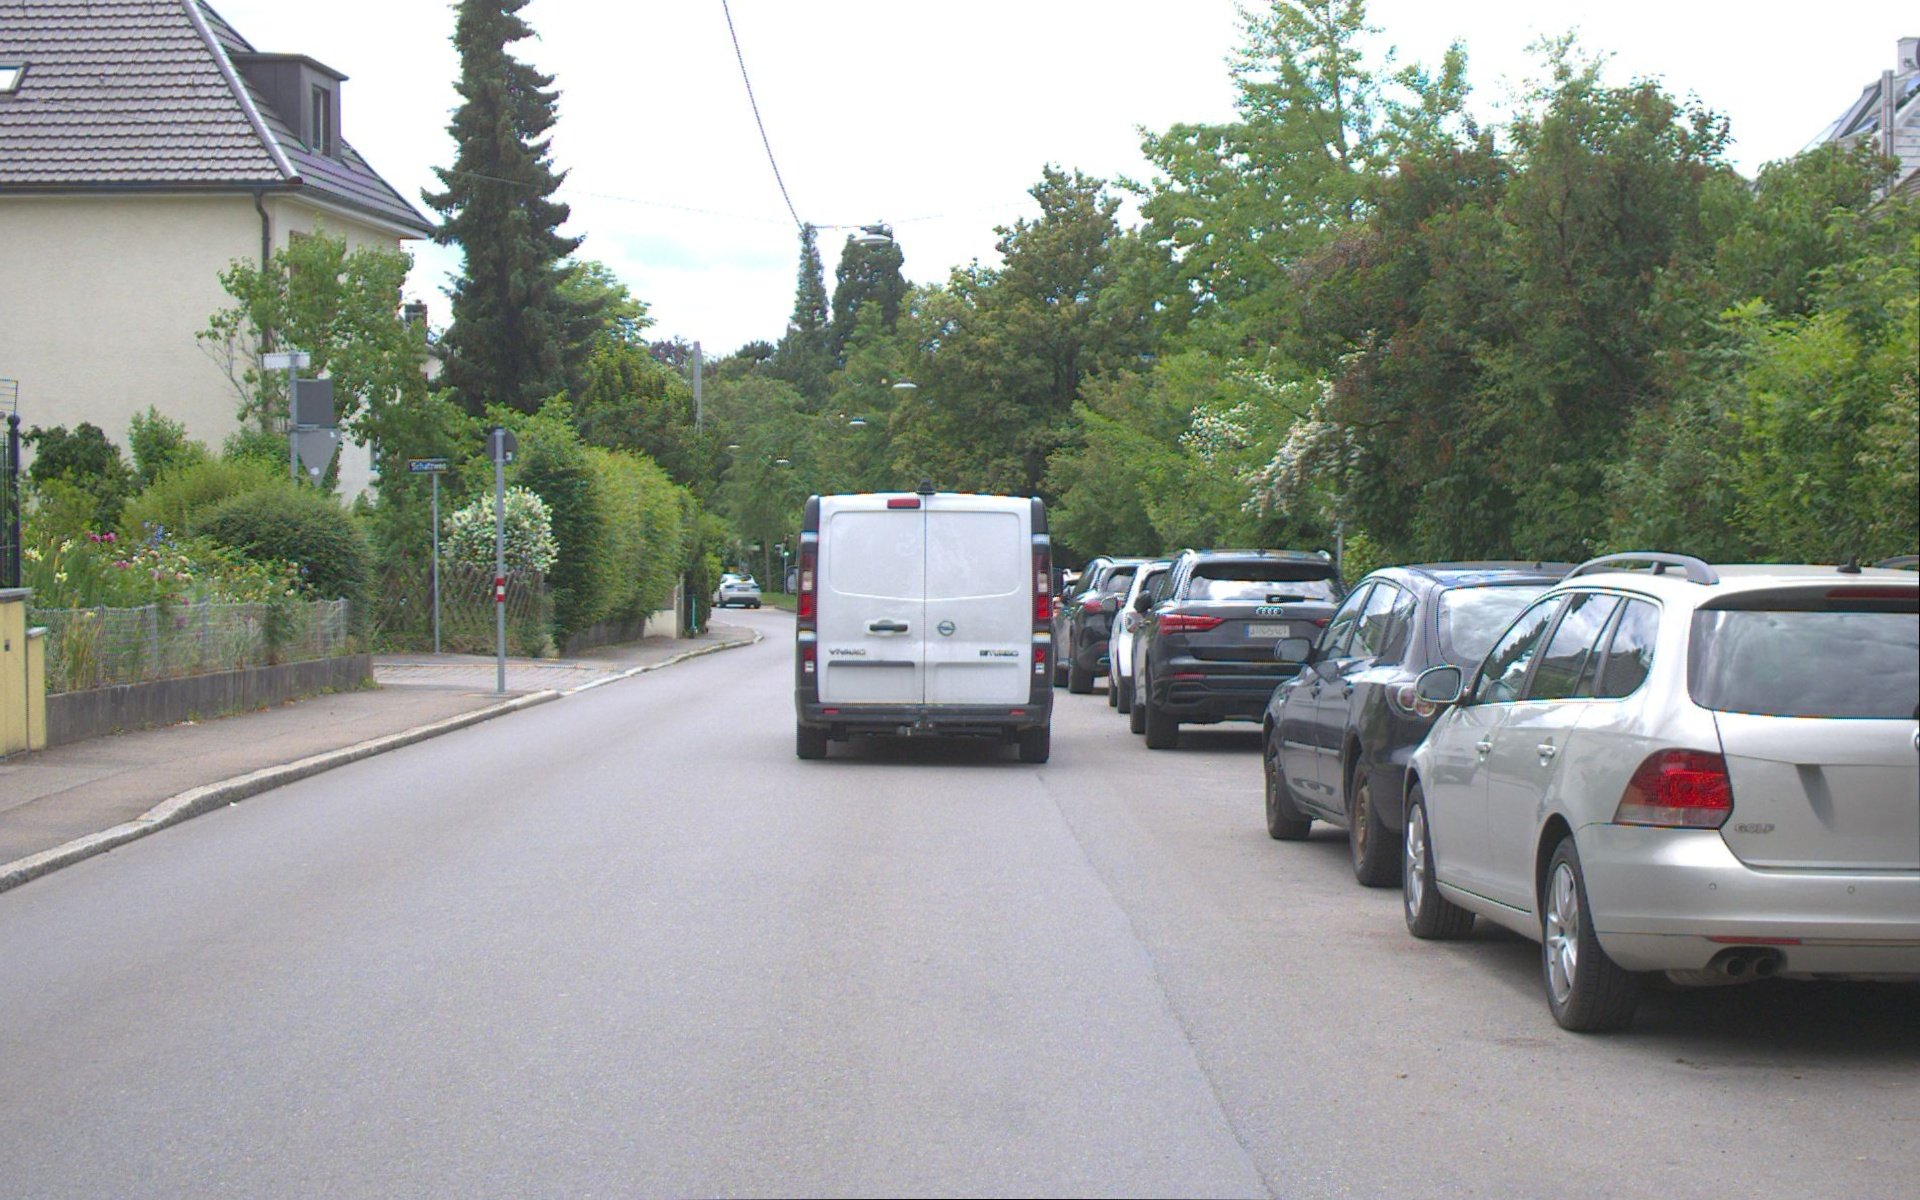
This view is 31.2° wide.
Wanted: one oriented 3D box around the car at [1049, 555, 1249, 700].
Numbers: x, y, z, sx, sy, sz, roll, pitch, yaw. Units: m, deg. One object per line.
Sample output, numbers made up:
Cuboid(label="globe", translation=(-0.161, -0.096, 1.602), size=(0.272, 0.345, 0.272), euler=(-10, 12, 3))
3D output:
Cuboid(label="car", translation=(2.247, 0.328, 41.971), size=(1.950, 1.621, 4.377), euler=(2, 0, -3))

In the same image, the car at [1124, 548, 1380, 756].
Cuboid(label="car", translation=(2.339, 0.394, 28.425), size=(1.801, 1.586, 4.141), euler=(0, 0, 1))

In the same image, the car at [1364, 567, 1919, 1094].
Cuboid(label="car", translation=(2.646, 0.635, 11.909), size=(1.756, 1.472, 4.358), euler=(0, 1, -3))

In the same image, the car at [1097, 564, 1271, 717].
Cuboid(label="car", translation=(2.288, 0.402, 35.700), size=(1.598, 1.505, 3.013), euler=(0, 0, 0))

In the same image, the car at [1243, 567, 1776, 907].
Cuboid(label="car", translation=(2.549, 0.574, 16.926), size=(1.716, 1.455, 4.141), euler=(0, 1, -4))

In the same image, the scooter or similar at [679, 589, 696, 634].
Cuboid(label="scooter or similar", translation=(-7.167, 0.301, 90.422), size=(0.391, 1.167, 1.270), euler=(1, 0, -2))

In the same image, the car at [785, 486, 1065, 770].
Cuboid(label="car", translation=(-0.354, 0.172, 26.259), size=(1.930, 1.957, 4.402), euler=(1, 1, -3))

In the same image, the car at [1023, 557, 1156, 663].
Cuboid(label="car", translation=(2.076, 0.163, 56.054), size=(1.850, 1.621, 4.170), euler=(2, 0, -2))
